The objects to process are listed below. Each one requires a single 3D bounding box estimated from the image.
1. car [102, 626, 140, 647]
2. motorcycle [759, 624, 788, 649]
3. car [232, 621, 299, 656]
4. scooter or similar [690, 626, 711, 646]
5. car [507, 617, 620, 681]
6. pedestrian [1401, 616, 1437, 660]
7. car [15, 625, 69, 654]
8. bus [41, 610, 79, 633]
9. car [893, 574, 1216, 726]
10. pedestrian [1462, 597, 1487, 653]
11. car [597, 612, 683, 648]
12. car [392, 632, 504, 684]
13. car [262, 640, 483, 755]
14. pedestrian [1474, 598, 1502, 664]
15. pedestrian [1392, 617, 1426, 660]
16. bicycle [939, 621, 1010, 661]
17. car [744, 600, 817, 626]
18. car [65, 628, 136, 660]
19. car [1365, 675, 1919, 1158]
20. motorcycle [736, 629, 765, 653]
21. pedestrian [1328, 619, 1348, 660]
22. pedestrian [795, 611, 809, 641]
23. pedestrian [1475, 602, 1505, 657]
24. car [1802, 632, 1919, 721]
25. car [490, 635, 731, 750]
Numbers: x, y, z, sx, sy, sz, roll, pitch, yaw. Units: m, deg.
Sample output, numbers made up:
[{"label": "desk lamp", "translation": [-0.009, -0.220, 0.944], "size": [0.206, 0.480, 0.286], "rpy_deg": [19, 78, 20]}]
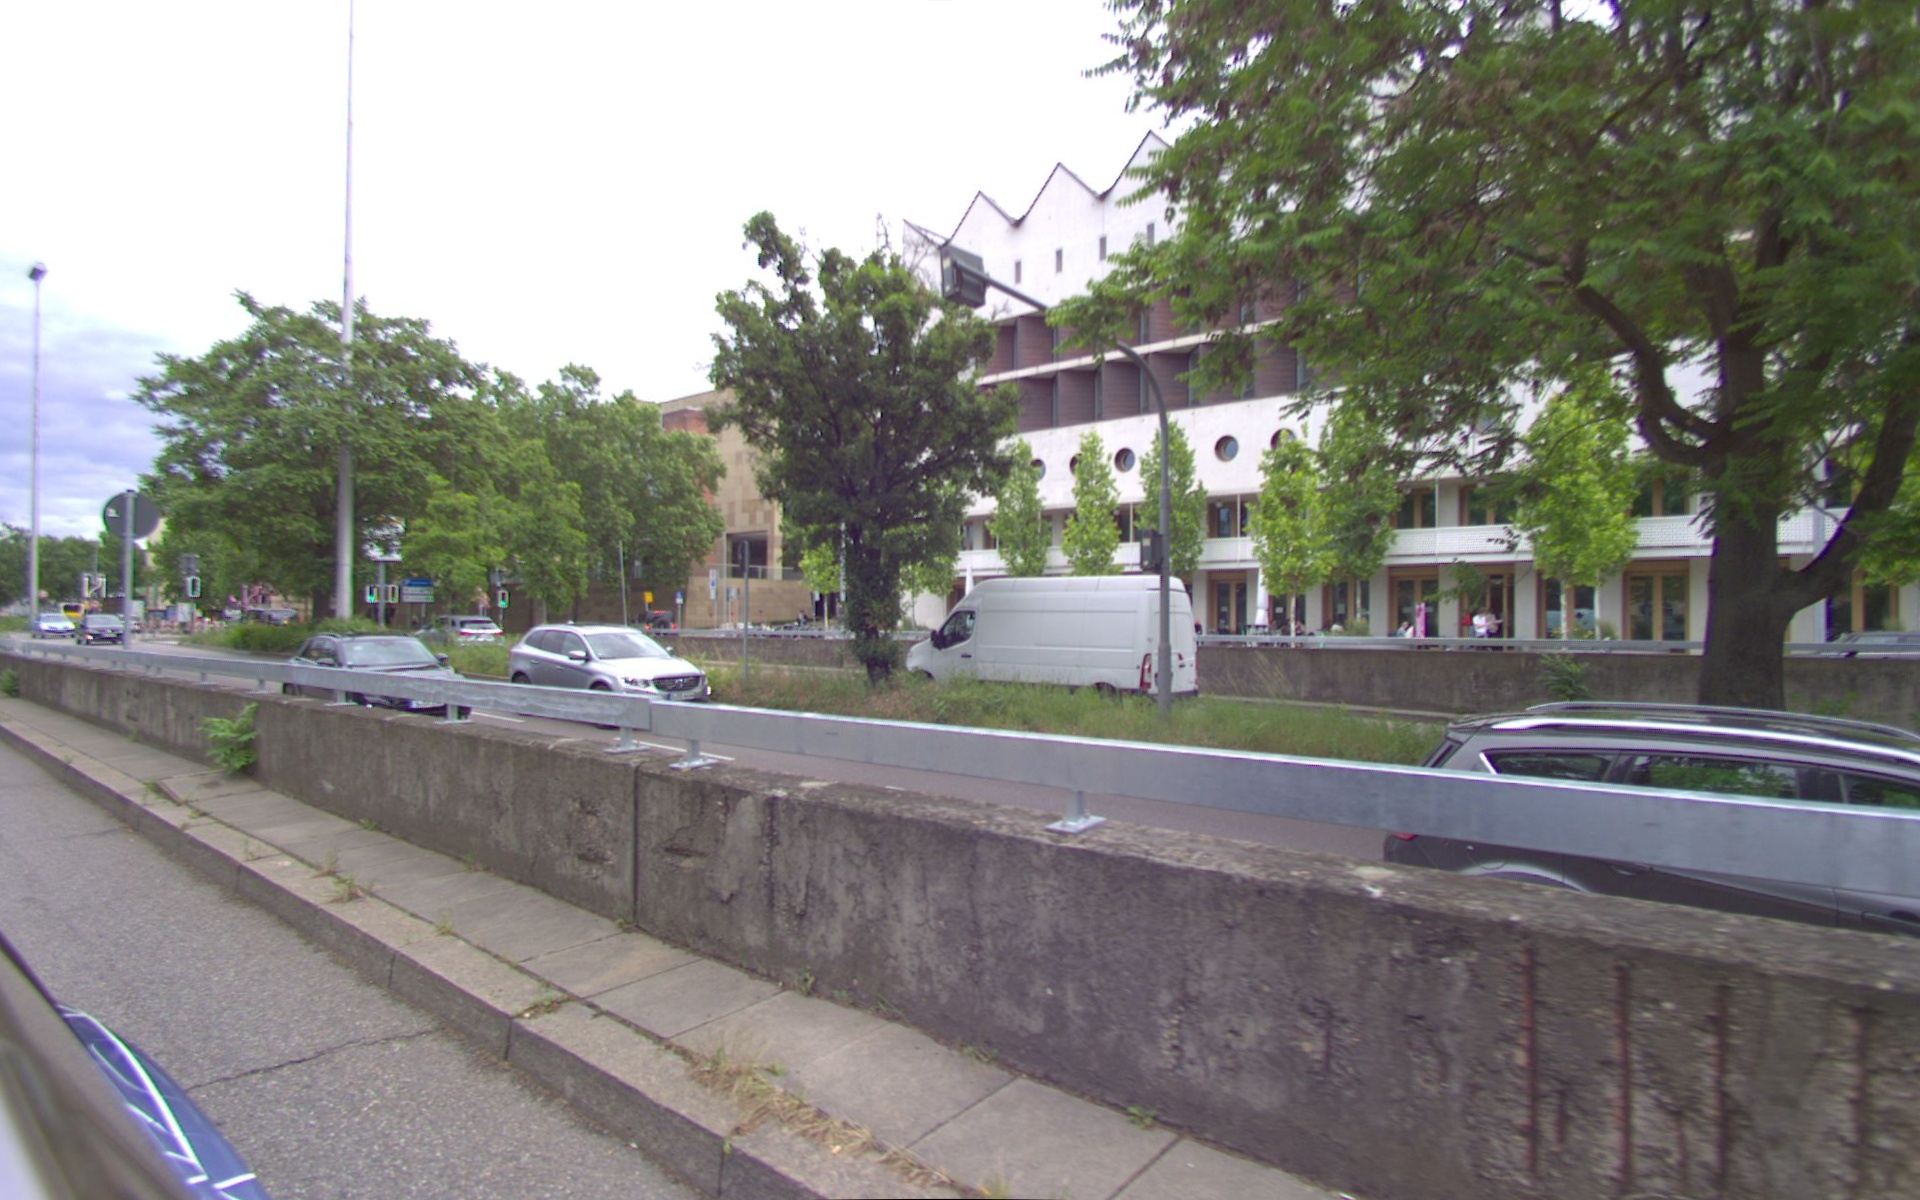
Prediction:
[{"label": "car", "translation": [-72.034, 3.121, 86.873], "size": [3.997, 1.669, 1.738], "rpy_deg": [0, 1, 40]}, {"label": "motorcycle", "translation": [-9.670, 1.881, 52.603], "size": [0.653, 1.243, 1.879], "rpy_deg": [2, -1, 16]}, {"label": "car", "translation": [-36.196, 1.989, 52.731], "size": [4.444, 1.730, 1.837], "rpy_deg": [-1, -2, 41]}, {"label": "scooter or similar", "translation": [-18.318, 2.552, 71.539], "size": [0.537, 1.351, 1.399], "rpy_deg": [-1, -2, 41]}, {"label": "car", "translation": [-14.082, 1.662, 35.882], "size": [3.994, 2.029, 1.975], "rpy_deg": [0, 1, 38]}, {"label": "pedestrian", "translation": [16.910, 1.399, 37.296], "size": [0.899, 1.534, 0.634], "rpy_deg": [5, -2, 0]}, {"label": "car", "translation": [-55.269, 2.364, 60.893], "size": [3.998, 1.658, 1.973], "rpy_deg": [-1, -1, 41]}, {"label": "bus", "translation": [-133.508, 3.158, 150.071], "size": [10.443, 3.330, 2.882], "rpy_deg": [-1, -2, 41]}, {"label": "car", "translation": [1.687, 0.774, 19.825], "size": [6.051, 2.543, 2.302], "rpy_deg": [1, 2, 39]}, {"label": "pedestrian", "translation": [19.386, 0.956, 38.119], "size": [0.630, 2.028, 0.626], "rpy_deg": [0, -9, 42]}, {"label": "car", "translation": [-15.959, 1.499, 50.456], "size": [4.382, 1.730, 1.840], "rpy_deg": [-1, -2, 36]}, {"label": "car", "translation": [-18.256, 2.012, 35.989], "size": [4.439, 1.730, 1.839], "rpy_deg": [-1, -2, 38]}, {"label": "car", "translation": [-9.774, 1.497, 16.731], "size": [4.146, 1.527, 1.746], "rpy_deg": [0, 0, 38]}, {"label": "pedestrian", "translation": [16.477, 0.954, 31.600], "size": [0.630, 2.029, 0.626], "rpy_deg": [0, 1, 42]}, {"label": "pedestrian", "translation": [16.915, 1.443, 38.118], "size": [0.899, 1.534, 0.634], "rpy_deg": [4, -3, 0]}, {"label": "bicycle", "translation": [0.683, 1.812, 44.701], "size": [1.182, 1.697, 3.576], "rpy_deg": [-2, -2, 40]}, {"label": "car", "translation": [-10.377, 0.721, 58.627], "size": [1.751, 1.285, 3.946], "rpy_deg": [0, 3, 41]}, {"label": "car", "translation": [-42.747, 2.129, 50.307], "size": [4.806, 1.494, 1.973], "rpy_deg": [-1, -1, 41]}, {"label": "car", "translation": [4.532, 1.326, 4.598], "size": [4.651, 1.728, 1.876], "rpy_deg": [-2, -1, 38]}, {"label": "motorcycle", "translation": [-11.077, 2.161, 53.481], "size": [0.653, 1.243, 1.879], "rpy_deg": [2, -1, 16]}, {"label": "pedestrian", "translation": [15.600, 1.614, 41.780], "size": [0.630, 1.646, 0.626], "rpy_deg": [0, -1, 40]}, {"label": "pedestrian", "translation": [-8.277, 1.356, 52.938], "size": [0.590, 1.569, 0.883], "rpy_deg": [0, -1, -1]}, {"label": "pedestrian", "translation": [20.231, 1.129, 38.628], "size": [0.702, 2.028, 0.739], "rpy_deg": [13, -10, -43]}, {"label": "car", "translation": [19.786, 1.525, 20.324], "size": [4.389, 1.730, 1.838], "rpy_deg": [-1, -2, 41]}, {"label": "car", "translation": [-6.287, 1.504, 17.935], "size": [4.736, 1.629, 1.973], "rpy_deg": [0, 0, 41]}]
